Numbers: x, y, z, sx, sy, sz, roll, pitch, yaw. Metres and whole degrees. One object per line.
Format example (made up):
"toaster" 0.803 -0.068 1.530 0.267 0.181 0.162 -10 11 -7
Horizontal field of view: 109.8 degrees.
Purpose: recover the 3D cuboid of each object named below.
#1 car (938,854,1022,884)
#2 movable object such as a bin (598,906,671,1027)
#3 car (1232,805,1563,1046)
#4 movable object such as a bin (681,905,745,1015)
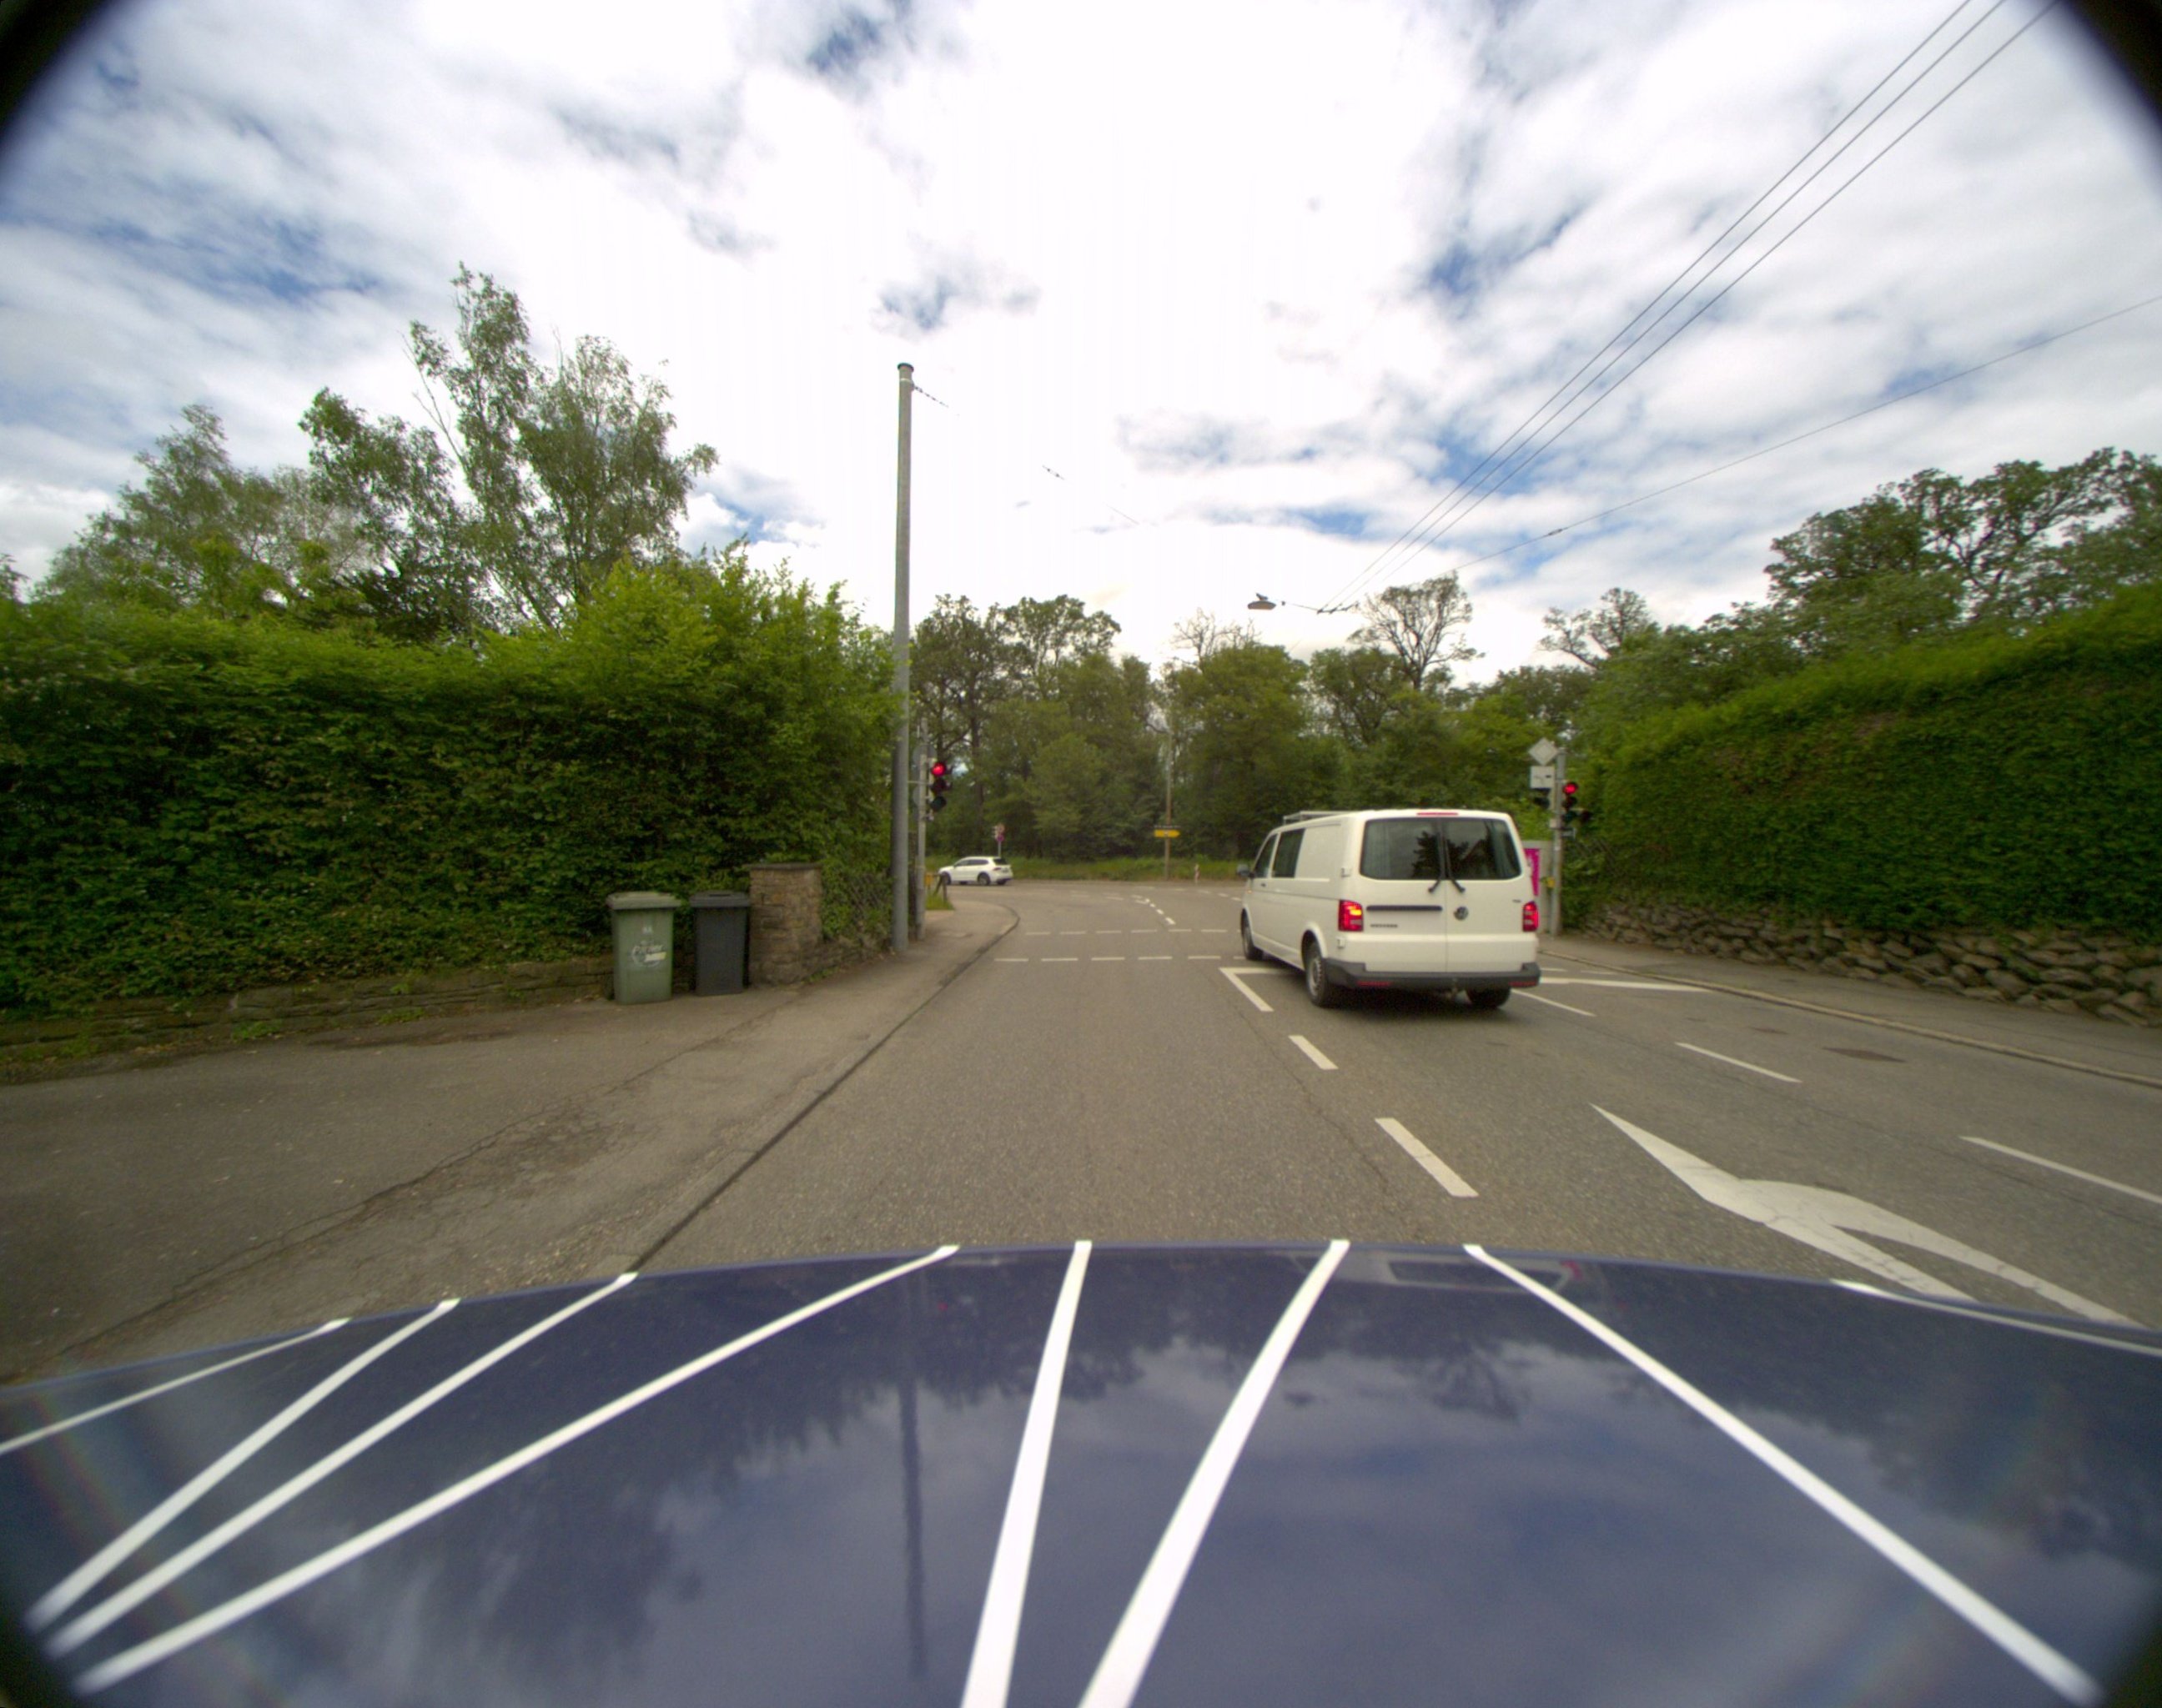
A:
"car" -5.900 0.861 44.296 4.641 1.618 1.868 1 0 29
"movable object such as a bin" -4.272 1.049 7.262 0.541 1.055 0.508 0 0 -37
"car" 3.206 0.590 9.068 1.862 2.036 5.171 1 1 1
"movable object such as a bin" -3.738 1.052 7.729 0.541 1.039 0.508 2 0 -26
